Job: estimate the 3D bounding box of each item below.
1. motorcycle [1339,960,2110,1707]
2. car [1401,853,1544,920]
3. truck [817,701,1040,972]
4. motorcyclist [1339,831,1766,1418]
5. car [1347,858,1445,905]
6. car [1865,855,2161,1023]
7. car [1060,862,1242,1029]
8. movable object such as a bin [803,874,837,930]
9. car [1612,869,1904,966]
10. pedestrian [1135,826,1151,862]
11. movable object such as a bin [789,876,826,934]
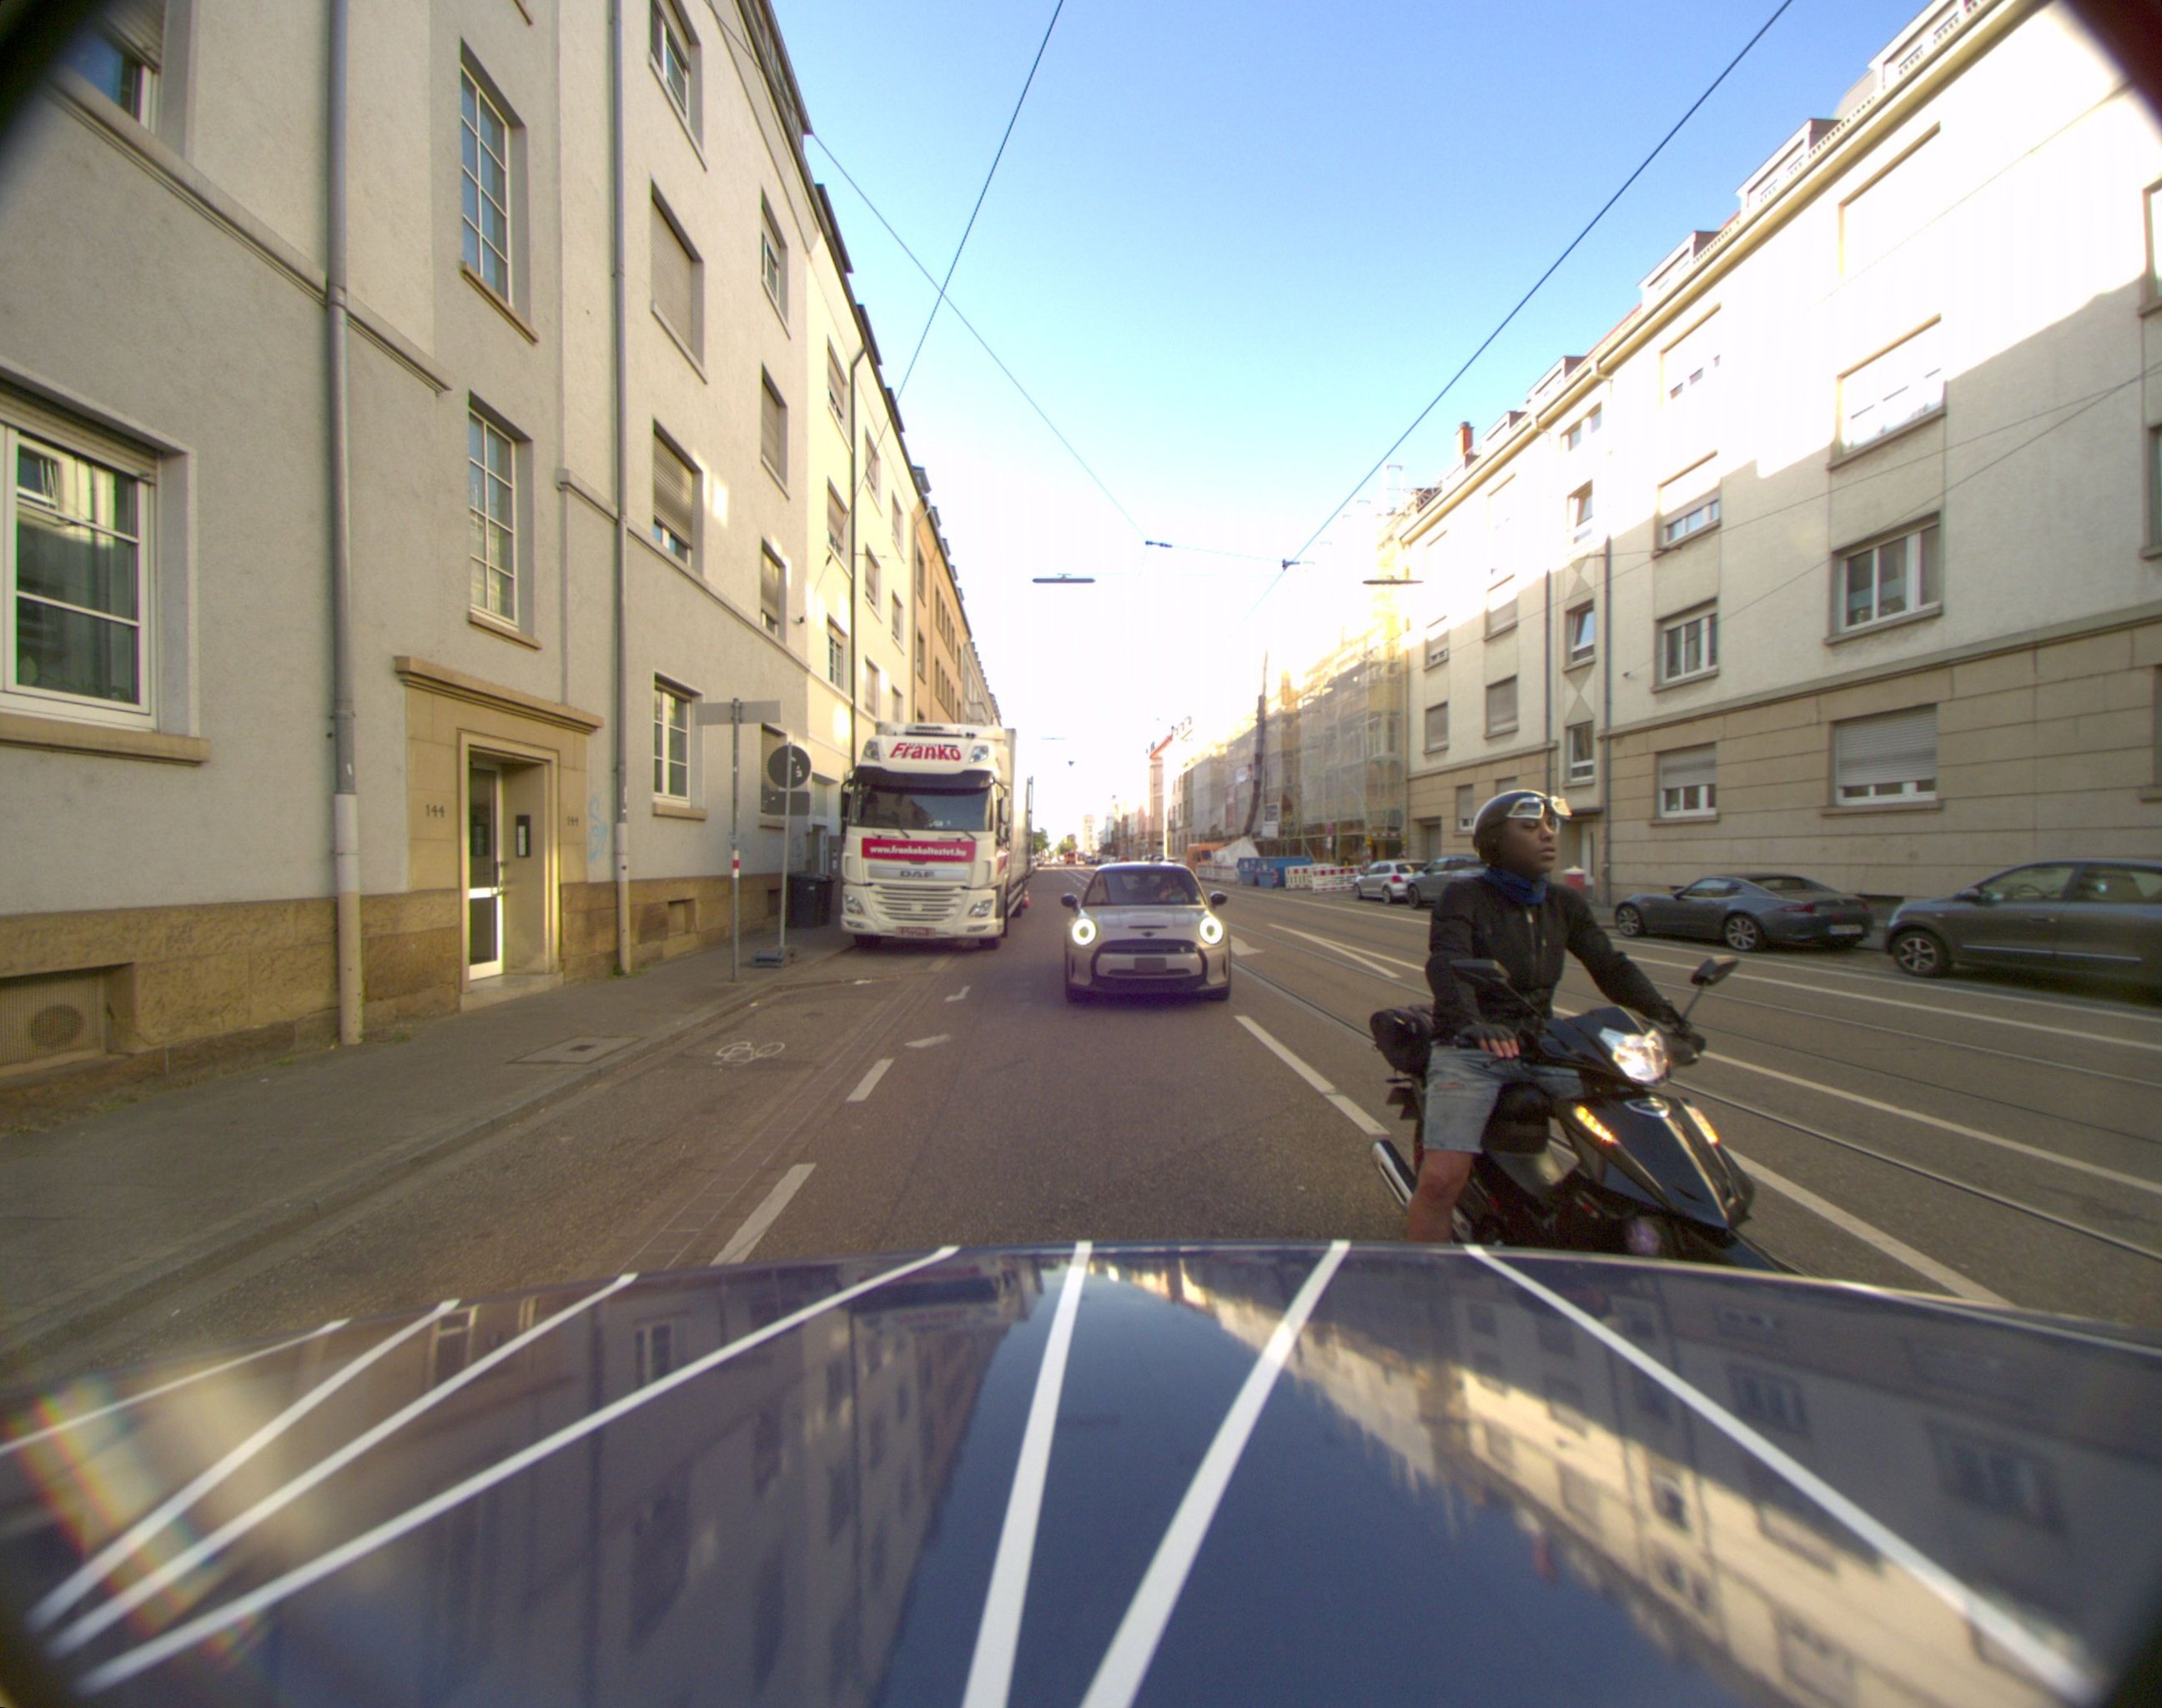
[{"bbox_3d":[1.353,1.066,2.182,0.538,1.212,1.981,-2,1,1],"label":"motorcycle"},{"bbox_3d":[10.783,0.817,21.306,1.712,1.582,4.112,-2,1,-3],"label":"car"},{"bbox_3d":[-2.571,-0.255,17.158,2.899,3.939,11.704,-2,0,-2],"label":"truck"},{"bbox_3d":[1.320,0.702,2.256,0.862,1.496,0.598,-2,1,1],"label":"motorcyclist"},{"bbox_3d":[10.634,0.868,25.890,1.637,1.383,3.643,-2,1,-3],"label":"car"},{"bbox_3d":[11.378,0.839,8.435,1.670,1.563,3.496,-2,1,-2],"label":"car"},{"bbox_3d":[0.644,0.872,9.063,1.692,1.495,4.000,0,0,0],"label":"car"},{"bbox_3d":[-5.345,0.977,15.572,0.512,1.085,0.495,-2,1,-4],"label":"movable object such as a bin"},{"bbox_3d":[11.232,0.971,12.966,1.751,1.269,3.488,-2,1,-4],"label":"car"},{"bbox_3d":[7.697,-1.290,94.372,1.723,4.377,1.153,-2,1,2],"label":"pedestrian"},{"bbox_3d":[-5.392,0.992,15.000,0.512,1.085,0.495,-2,1,-4],"label":"movable object such as a bin"}]
